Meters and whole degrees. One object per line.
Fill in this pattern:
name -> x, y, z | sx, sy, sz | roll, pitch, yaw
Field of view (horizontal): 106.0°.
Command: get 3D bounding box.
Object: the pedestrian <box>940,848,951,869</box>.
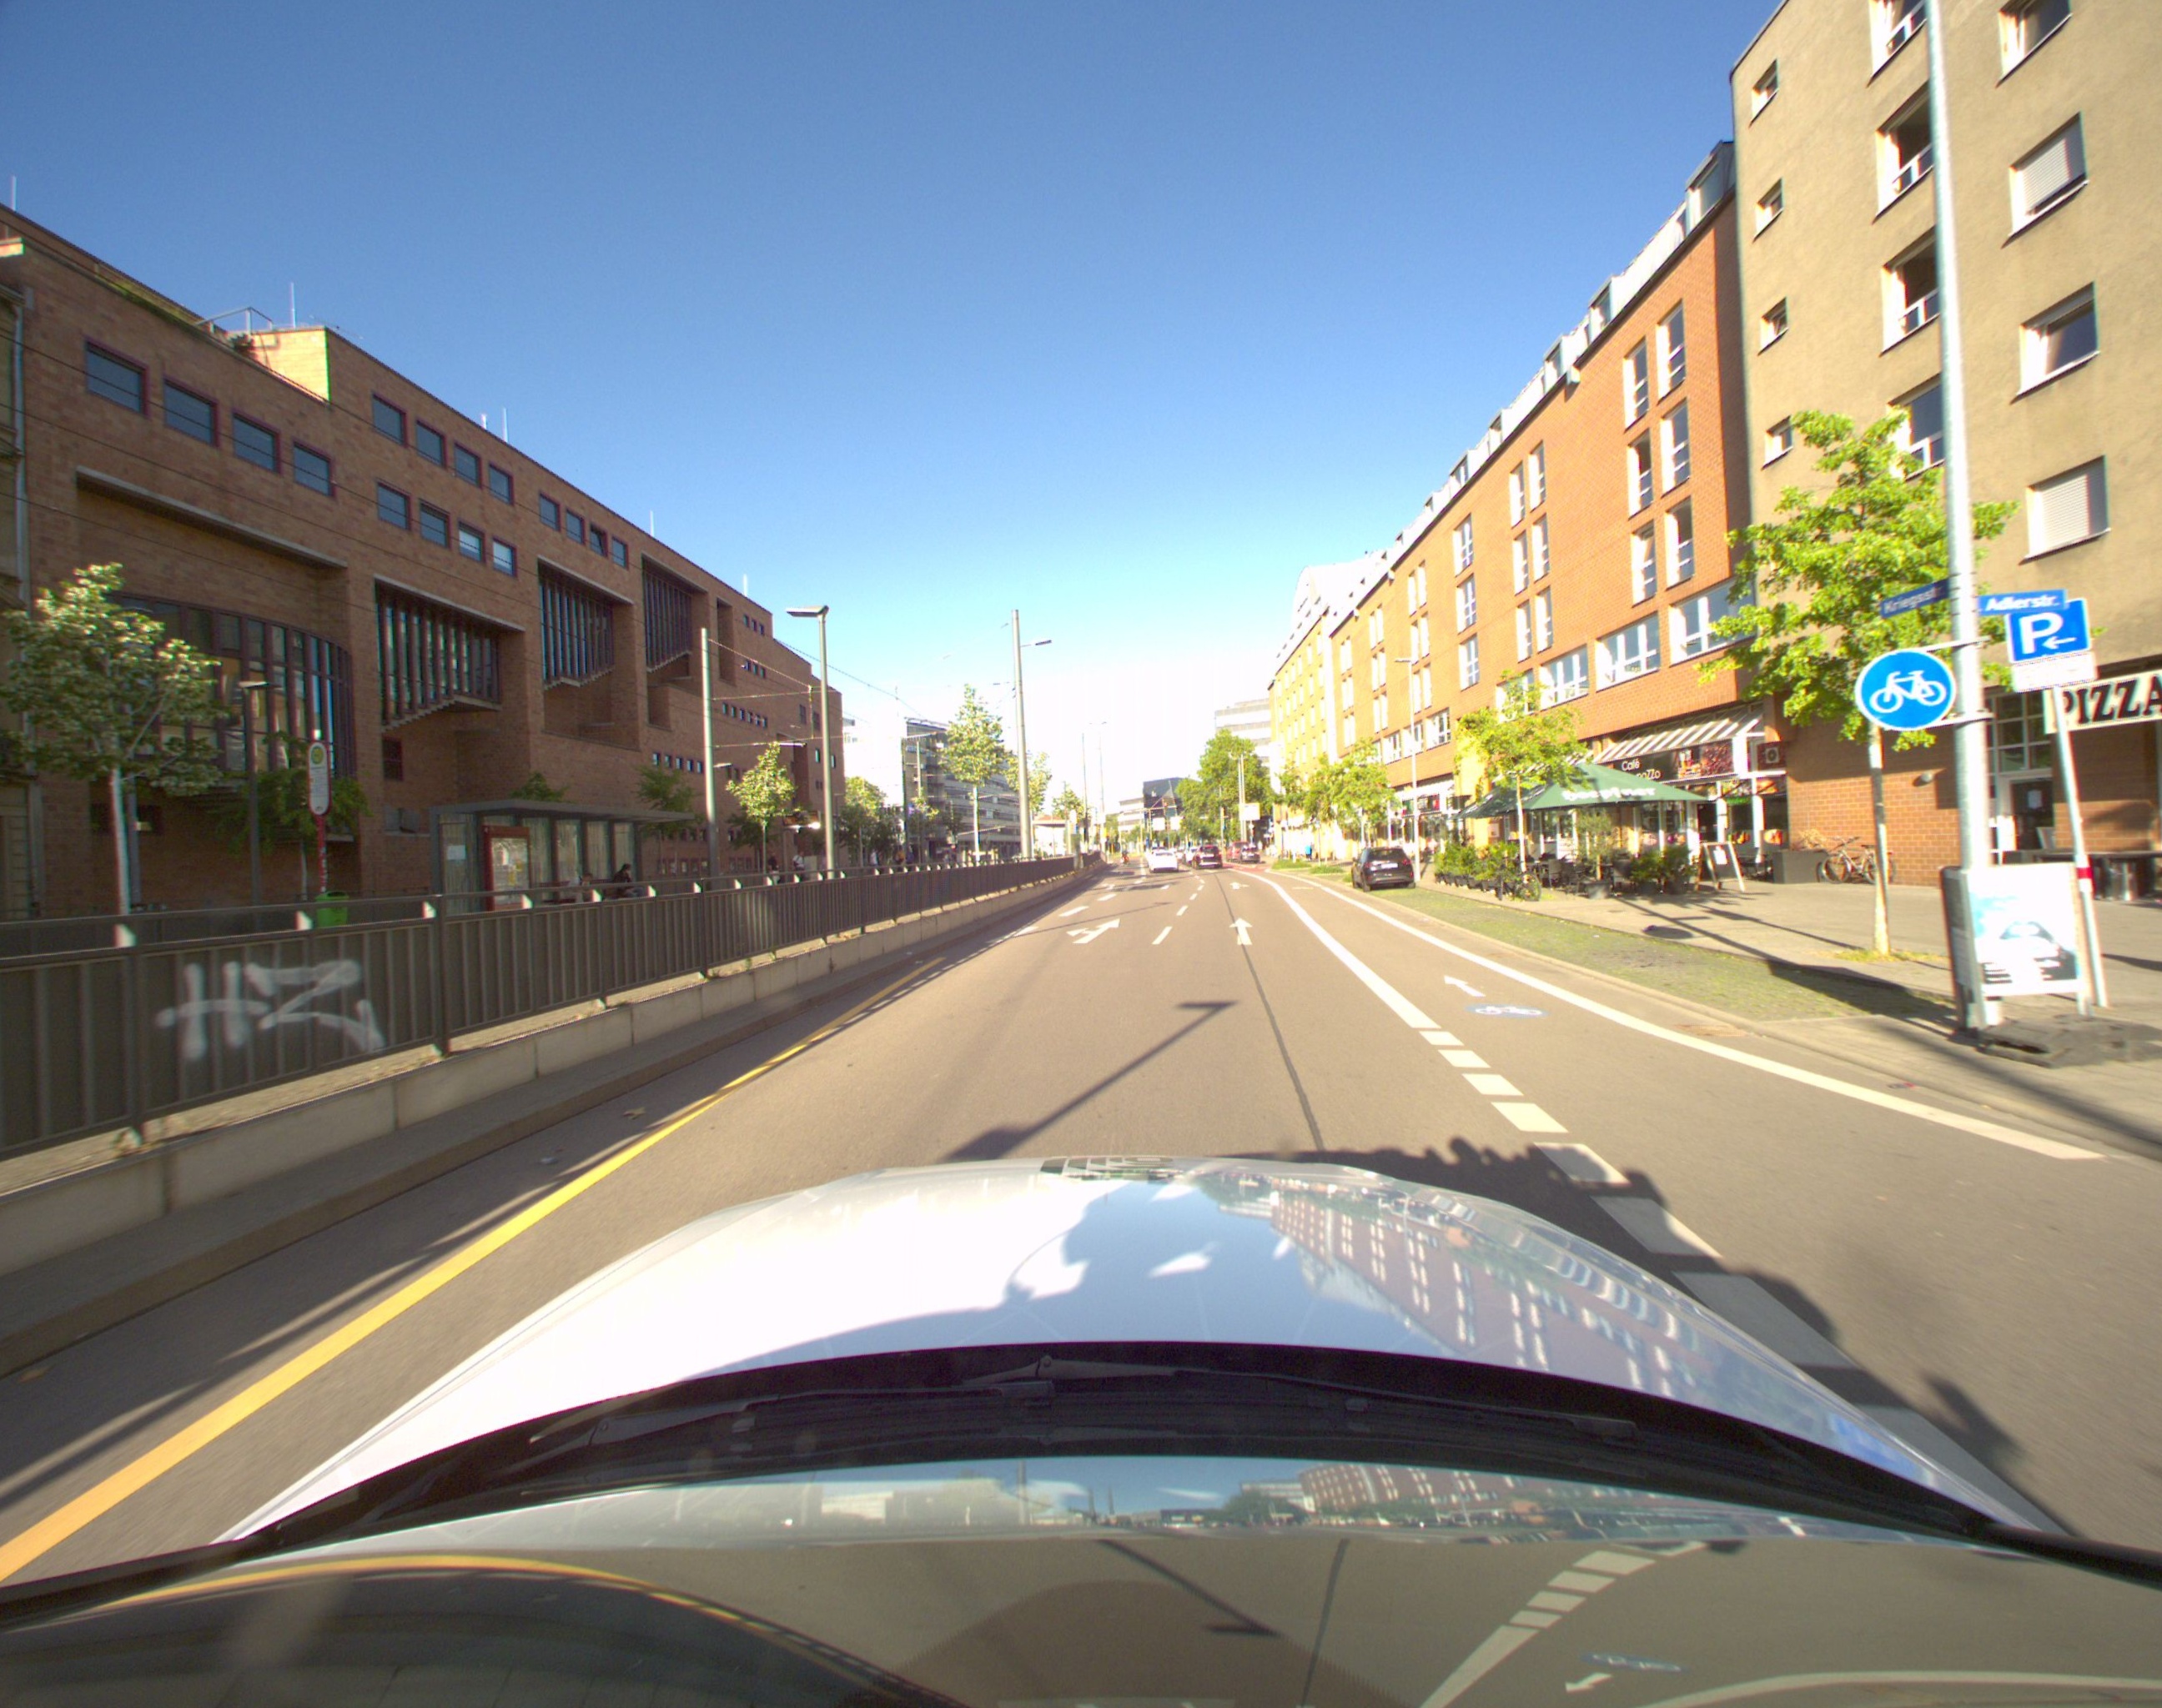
pedestrian -> -10.118, 0.336, 60.792 | 0.637, 1.608, 0.946 | -1, 0, 4

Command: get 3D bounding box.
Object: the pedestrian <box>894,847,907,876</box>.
pedestrian -> -10.747, 0.452, 48.544 | 0.637, 1.695, 0.541 | -1, 0, 4

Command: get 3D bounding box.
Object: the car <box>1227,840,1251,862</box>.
car -> 15.043, -0.344, 77.737 | 1.851, 1.961, 4.006 | -3, 0, 5

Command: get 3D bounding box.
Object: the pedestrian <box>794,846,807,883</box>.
pedestrian -> -12.694, 0.467, 36.877 | 0.376, 1.621, 0.554 | -1, 0, 4

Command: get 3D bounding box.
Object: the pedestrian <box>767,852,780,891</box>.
pedestrian -> -12.899, 0.735, 34.171 | 0.376, 1.648, 0.416 | -1, 0, 4

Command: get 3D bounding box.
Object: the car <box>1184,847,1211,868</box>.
car -> 9.528, 0.288, 67.082 | 1.843, 1.639, 4.383 | -1, 0, 4

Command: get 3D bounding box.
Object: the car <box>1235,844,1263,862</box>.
car -> 14.651, -0.120, 71.399 | 1.838, 1.560, 4.638 | -1, 1, 4

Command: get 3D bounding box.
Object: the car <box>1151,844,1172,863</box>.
car -> 6.746, -0.077, 68.356 | 1.685, 1.496, 4.414 | -1, 1, 4

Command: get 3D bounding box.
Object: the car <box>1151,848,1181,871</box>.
car -> 5.574, 0.345, 53.979 | 1.772, 1.414, 4.824 | -1, 1, 4

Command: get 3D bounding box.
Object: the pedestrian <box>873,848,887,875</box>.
pedestrian -> -12.043, 0.448, 48.764 | 0.620, 1.612, 0.617 | -2, 0, 4

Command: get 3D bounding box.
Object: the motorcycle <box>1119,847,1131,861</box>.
motorcycle -> 4.320, 0.003, 79.808 | 1.014, 1.312, 2.918 | -1, 0, 4

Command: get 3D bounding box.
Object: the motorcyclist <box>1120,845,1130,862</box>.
motorcyclist -> 4.316, -0.082, 79.848 | 1.014, 1.603, 1.150 | -1, 0, 4

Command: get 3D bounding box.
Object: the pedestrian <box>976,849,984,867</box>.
pedestrian -> -9.912, 0.396, 80.075 | 0.611, 1.817, 0.898 | -2, 0, 4

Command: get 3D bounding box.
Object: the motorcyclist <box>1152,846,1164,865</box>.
motorcyclist -> 5.928, 0.107, 62.732 | 0.834, 1.475, 1.237 | -3, 0, 3

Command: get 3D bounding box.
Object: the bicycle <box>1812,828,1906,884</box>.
bicycle -> 17.563, 0.030, 18.438 | 0.611, 1.169, 1.537 | -4, 0, 1

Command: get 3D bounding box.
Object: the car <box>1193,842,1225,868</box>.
car -> 9.290, 0.057, 59.423 | 1.966, 1.759, 4.638 | -1, 1, 4

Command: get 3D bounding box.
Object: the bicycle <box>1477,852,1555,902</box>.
bicycle -> 10.738, 0.562, 20.183 | 0.763, 1.081, 1.998 | -8, -1, 1

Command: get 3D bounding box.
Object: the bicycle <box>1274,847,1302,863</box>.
bicycle -> 15.429, 0.069, 60.665 | 1.931, 1.075, 0.556 | -4, -1, 14

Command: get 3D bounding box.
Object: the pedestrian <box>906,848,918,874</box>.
pedestrian -> -11.289, 0.455, 54.419 | 0.579, 1.738, 0.617 | -2, 0, 4

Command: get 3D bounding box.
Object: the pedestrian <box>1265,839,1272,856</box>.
pedestrian -> 20.821, -0.720, 90.576 | 0.603, 1.821, 0.749 | -3, 0, 3

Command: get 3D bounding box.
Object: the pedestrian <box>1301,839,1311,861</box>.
pedestrian -> 19.150, -0.354, 69.371 | 0.603, 1.821, 0.749 | -3, 0, 3

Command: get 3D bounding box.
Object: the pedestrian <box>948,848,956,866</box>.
pedestrian -> -11.121, 0.253, 70.181 | 0.561, 1.609, 0.617 | -2, 0, 4

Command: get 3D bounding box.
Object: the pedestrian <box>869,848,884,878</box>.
pedestrian -> -12.037, 0.523, 47.976 | 0.620, 1.714, 0.617 | -2, 0, 4

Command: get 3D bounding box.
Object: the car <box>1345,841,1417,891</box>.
car -> 11.010, 0.381, 30.127 | 1.710, 1.636, 4.243 | -3, 0, 10

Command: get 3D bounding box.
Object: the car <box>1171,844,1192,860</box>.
car -> 10.368, -0.222, 84.223 | 1.842, 1.497, 4.384 | -2, 1, 4

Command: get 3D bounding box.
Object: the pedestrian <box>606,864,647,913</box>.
pedestrian -> -12.965, 0.966, 23.232 | 0.643, 1.309, 0.722 | -4, 0, 4

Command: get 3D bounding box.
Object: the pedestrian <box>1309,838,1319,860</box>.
pedestrian -> 20.074, -0.436, 70.279 | 0.603, 1.821, 0.749 | -3, 0, 3

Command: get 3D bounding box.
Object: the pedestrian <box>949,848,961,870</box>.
pedestrian -> -9.422, 0.375, 60.762 | 0.637, 1.643, 0.946 | -1, 0, 4

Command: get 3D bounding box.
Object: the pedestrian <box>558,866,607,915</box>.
pedestrian -> -12.967, 0.936, 21.187 | 0.718, 1.168, 0.722 | -4, 0, 4

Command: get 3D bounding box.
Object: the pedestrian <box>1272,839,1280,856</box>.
pedestrian -> 20.528, -0.678, 85.670 | 0.603, 1.821, 0.749 | -3, 0, 3

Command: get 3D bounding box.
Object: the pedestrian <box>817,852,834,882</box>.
pedestrian -> -12.456, 0.639, 39.691 | 0.537, 1.459, 0.643 | -1, 0, 4
